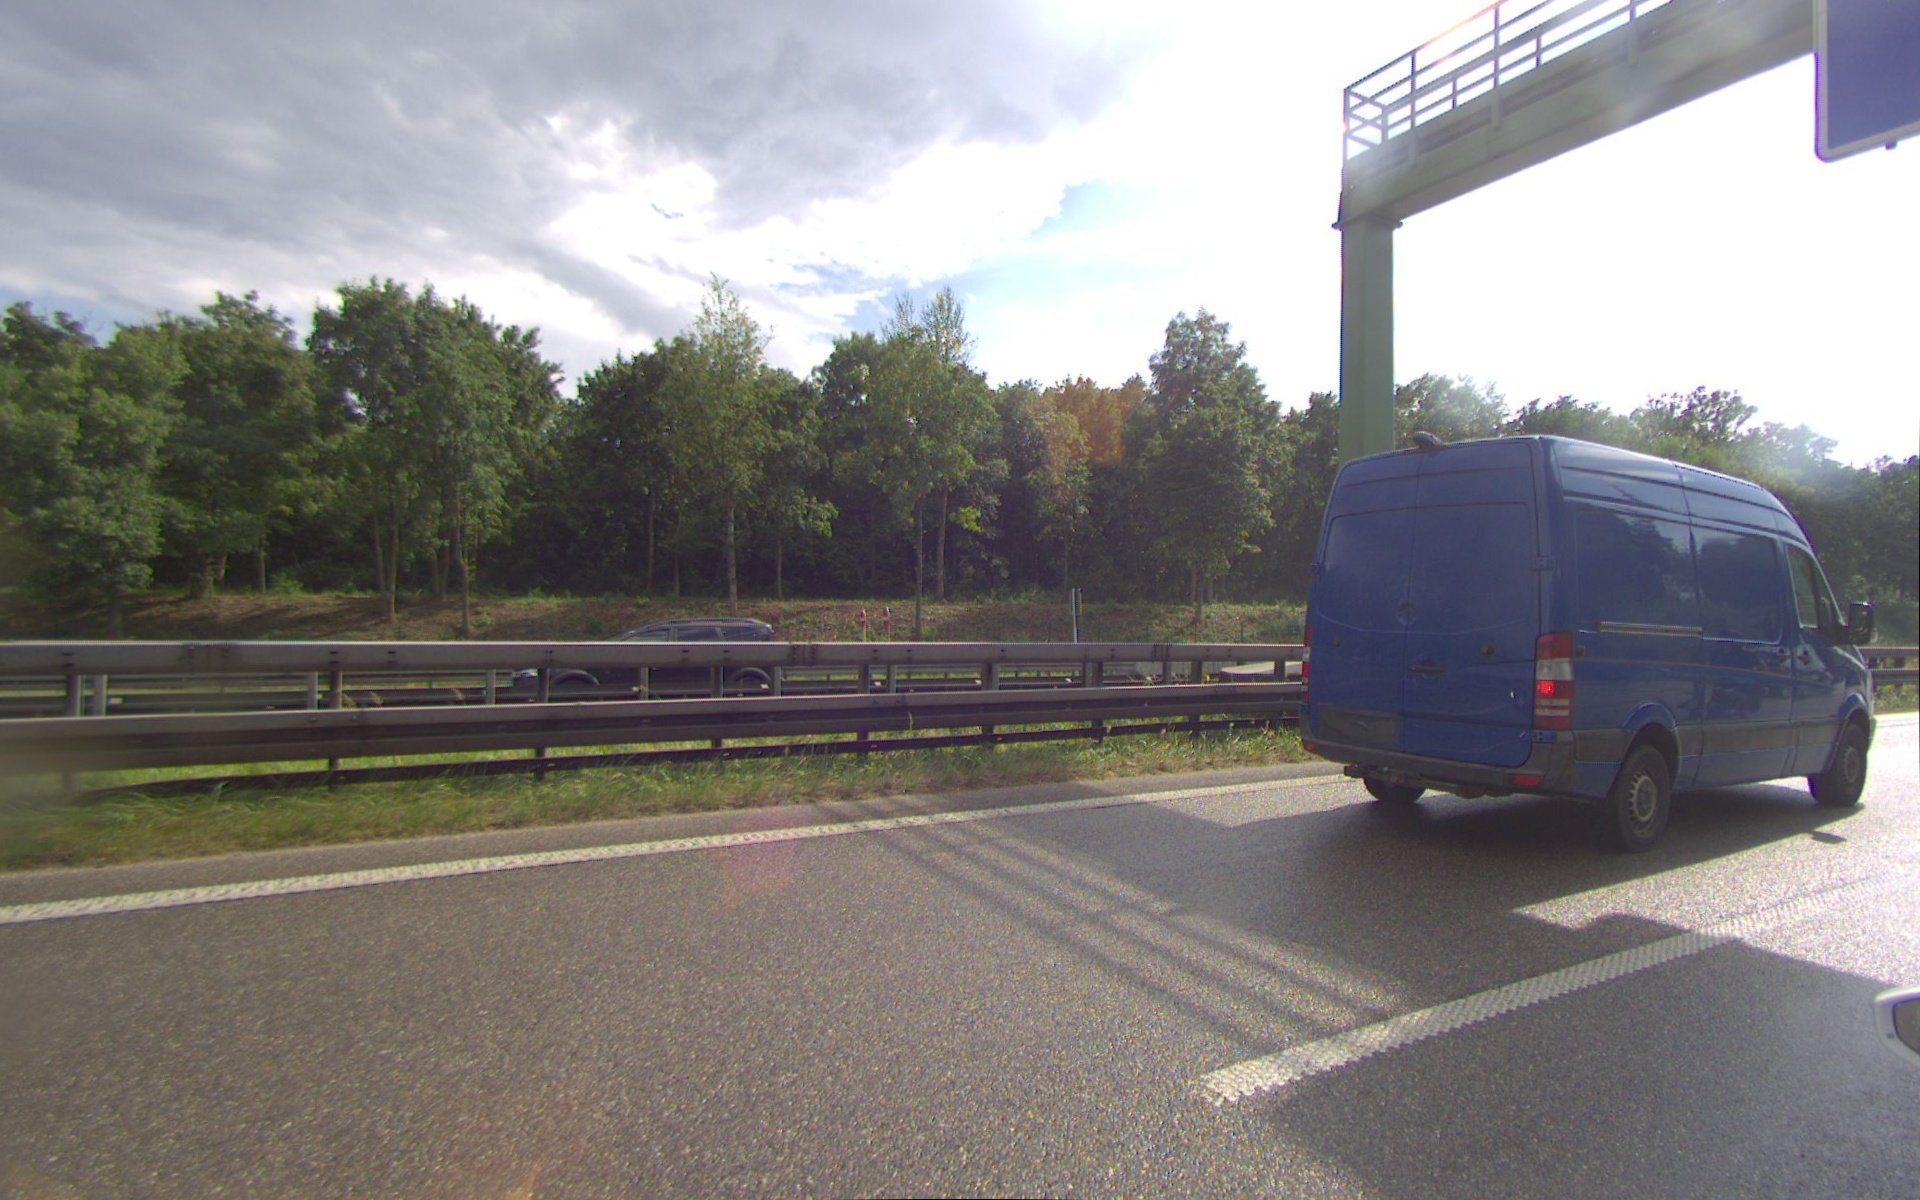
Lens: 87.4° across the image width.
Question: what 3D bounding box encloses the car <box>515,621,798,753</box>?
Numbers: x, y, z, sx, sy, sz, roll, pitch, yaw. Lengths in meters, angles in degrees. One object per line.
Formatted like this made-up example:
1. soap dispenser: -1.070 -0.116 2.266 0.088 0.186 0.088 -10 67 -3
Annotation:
1. car: -5.212 1.395 17.382 4.343 1.991 1.984 1 0 -30

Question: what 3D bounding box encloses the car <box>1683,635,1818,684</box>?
1. car: 23.134 1.695 29.373 3.954 1.313 1.835 1 -1 -31

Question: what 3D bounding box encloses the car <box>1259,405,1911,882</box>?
1. car: 5.173 0.313 7.991 5.710 2.684 2.005 2 0 -31
